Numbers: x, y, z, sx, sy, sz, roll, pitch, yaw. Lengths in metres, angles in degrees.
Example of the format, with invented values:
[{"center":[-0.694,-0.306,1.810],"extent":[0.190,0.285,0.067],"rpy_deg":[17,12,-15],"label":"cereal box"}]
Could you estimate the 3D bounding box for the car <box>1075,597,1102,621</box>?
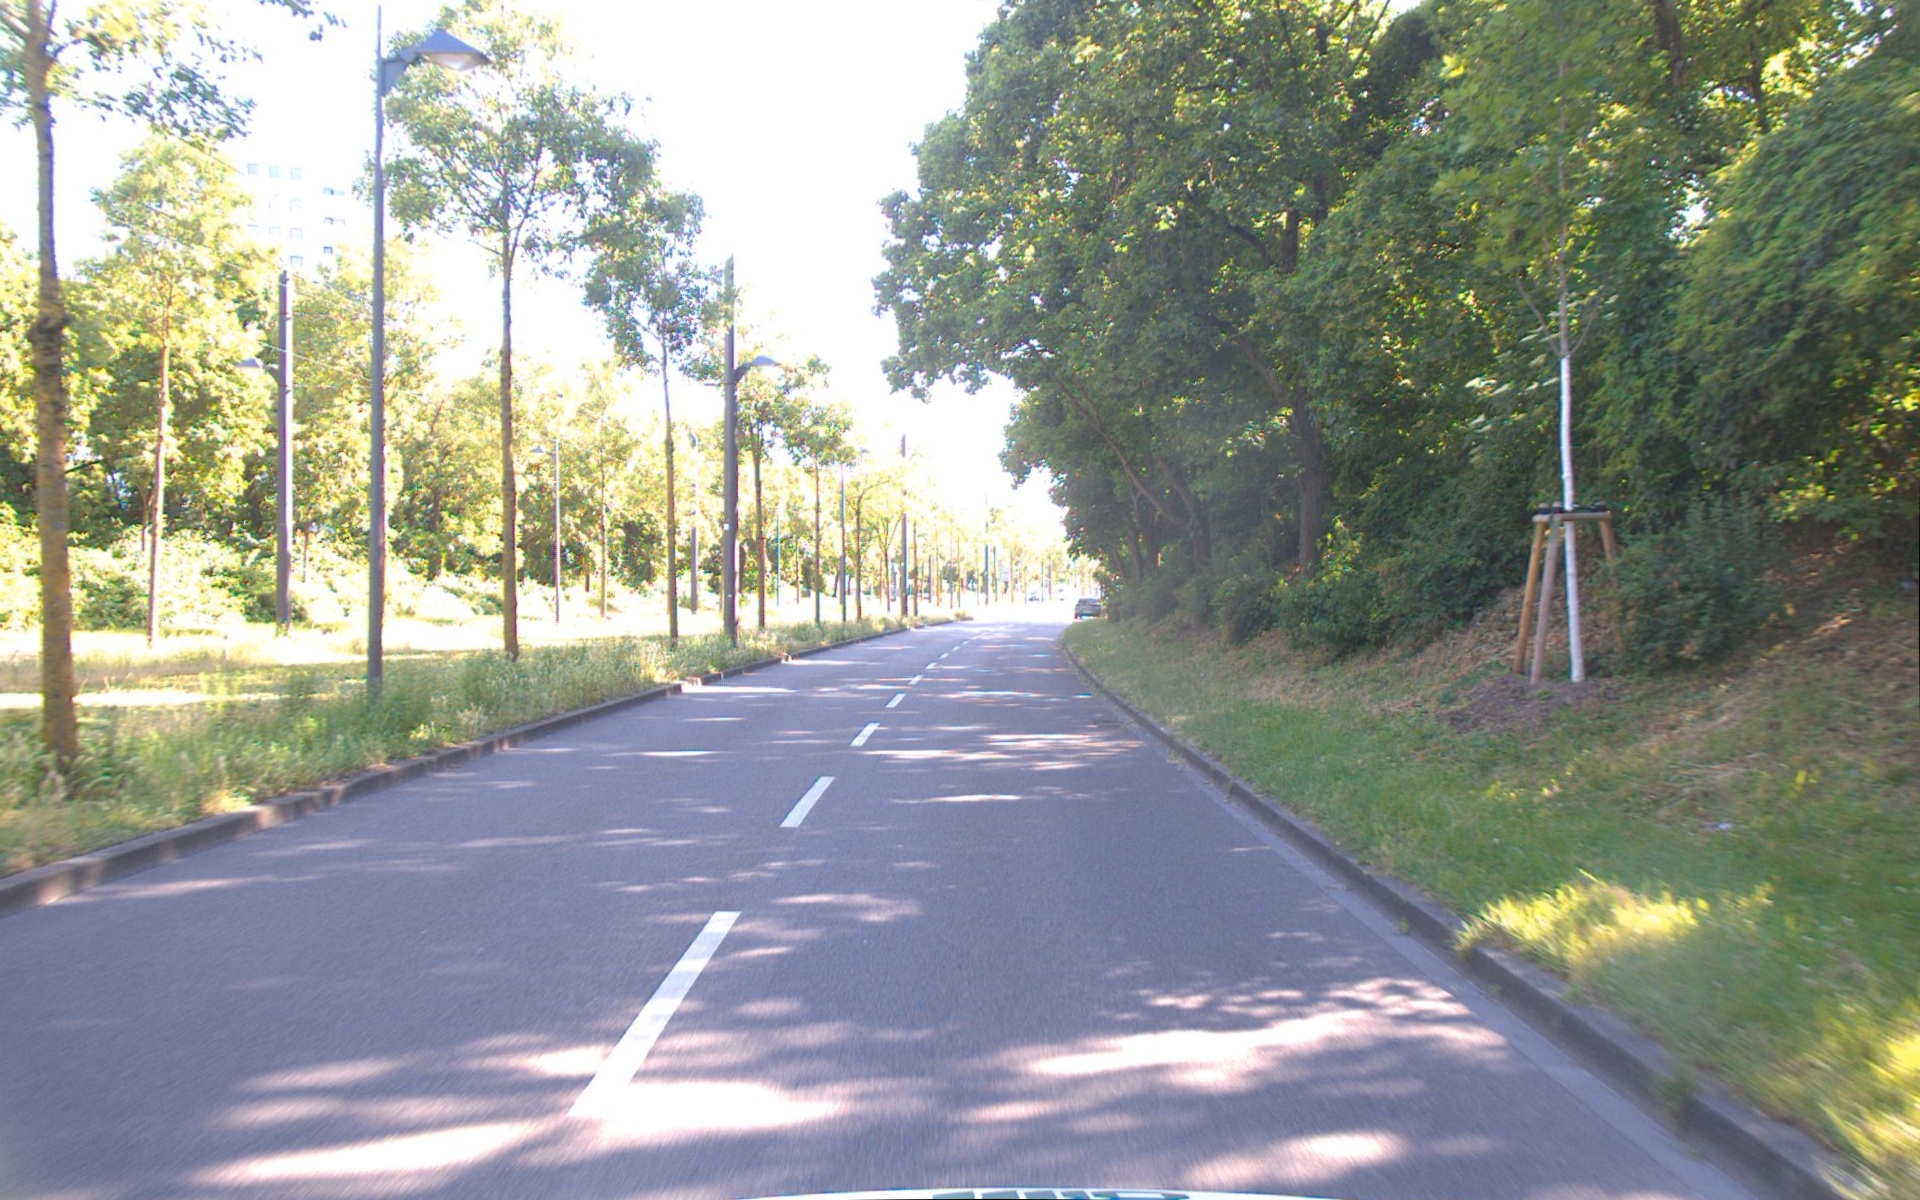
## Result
[{"center":[8.590,0.591,110.436],"extent":[1.599,1.524,4.238],"rpy_deg":[1,0,7],"label":"car"}]
